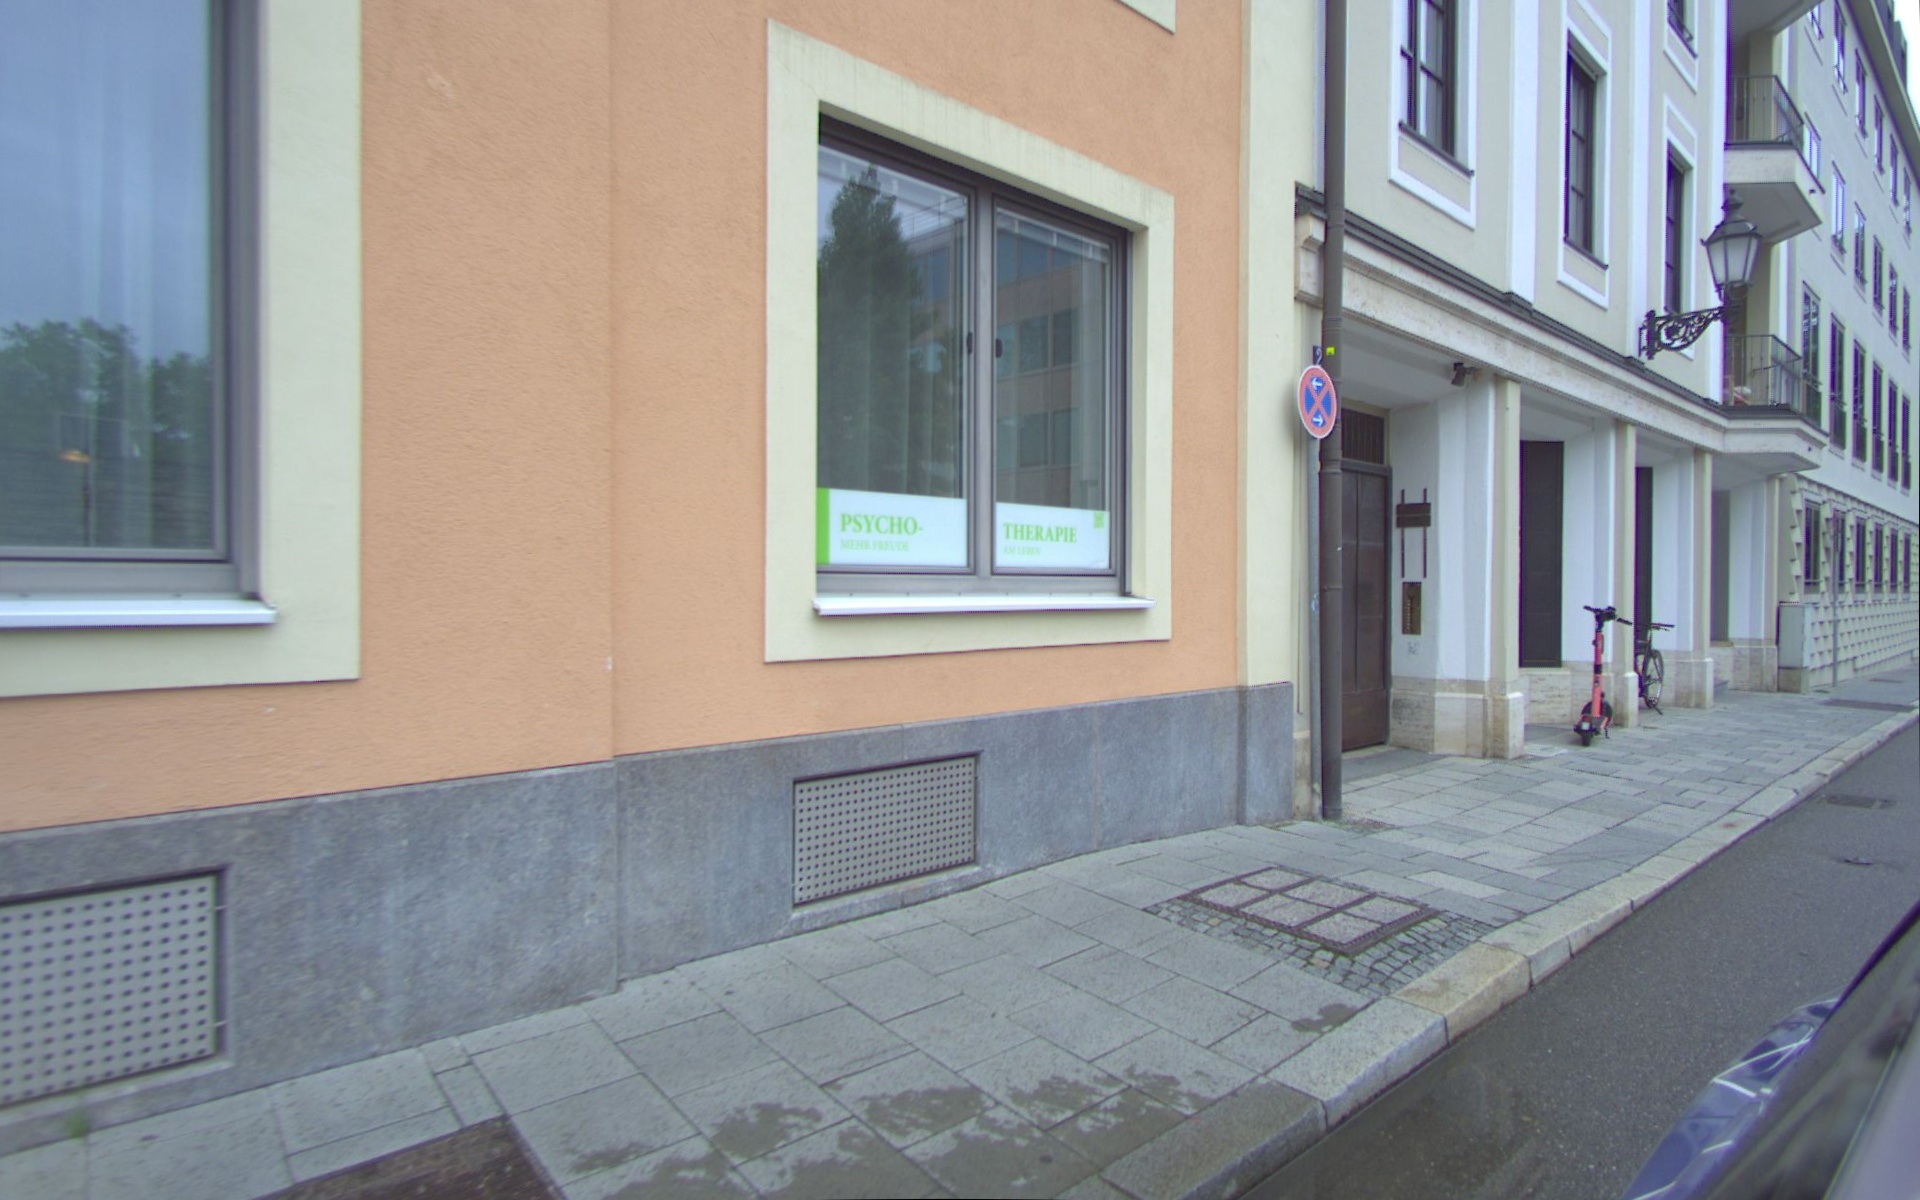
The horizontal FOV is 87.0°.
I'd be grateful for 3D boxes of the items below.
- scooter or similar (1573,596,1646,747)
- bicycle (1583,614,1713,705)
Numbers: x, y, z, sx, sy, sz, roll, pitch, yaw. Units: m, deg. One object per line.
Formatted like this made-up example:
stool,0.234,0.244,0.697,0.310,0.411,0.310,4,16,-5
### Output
scooter or similar,6.078,0.621,9.445,0.463,1.274,1.261,4,3,35
bicycle,8.324,0.708,12.210,2.037,1.006,0.466,2,1,-31
